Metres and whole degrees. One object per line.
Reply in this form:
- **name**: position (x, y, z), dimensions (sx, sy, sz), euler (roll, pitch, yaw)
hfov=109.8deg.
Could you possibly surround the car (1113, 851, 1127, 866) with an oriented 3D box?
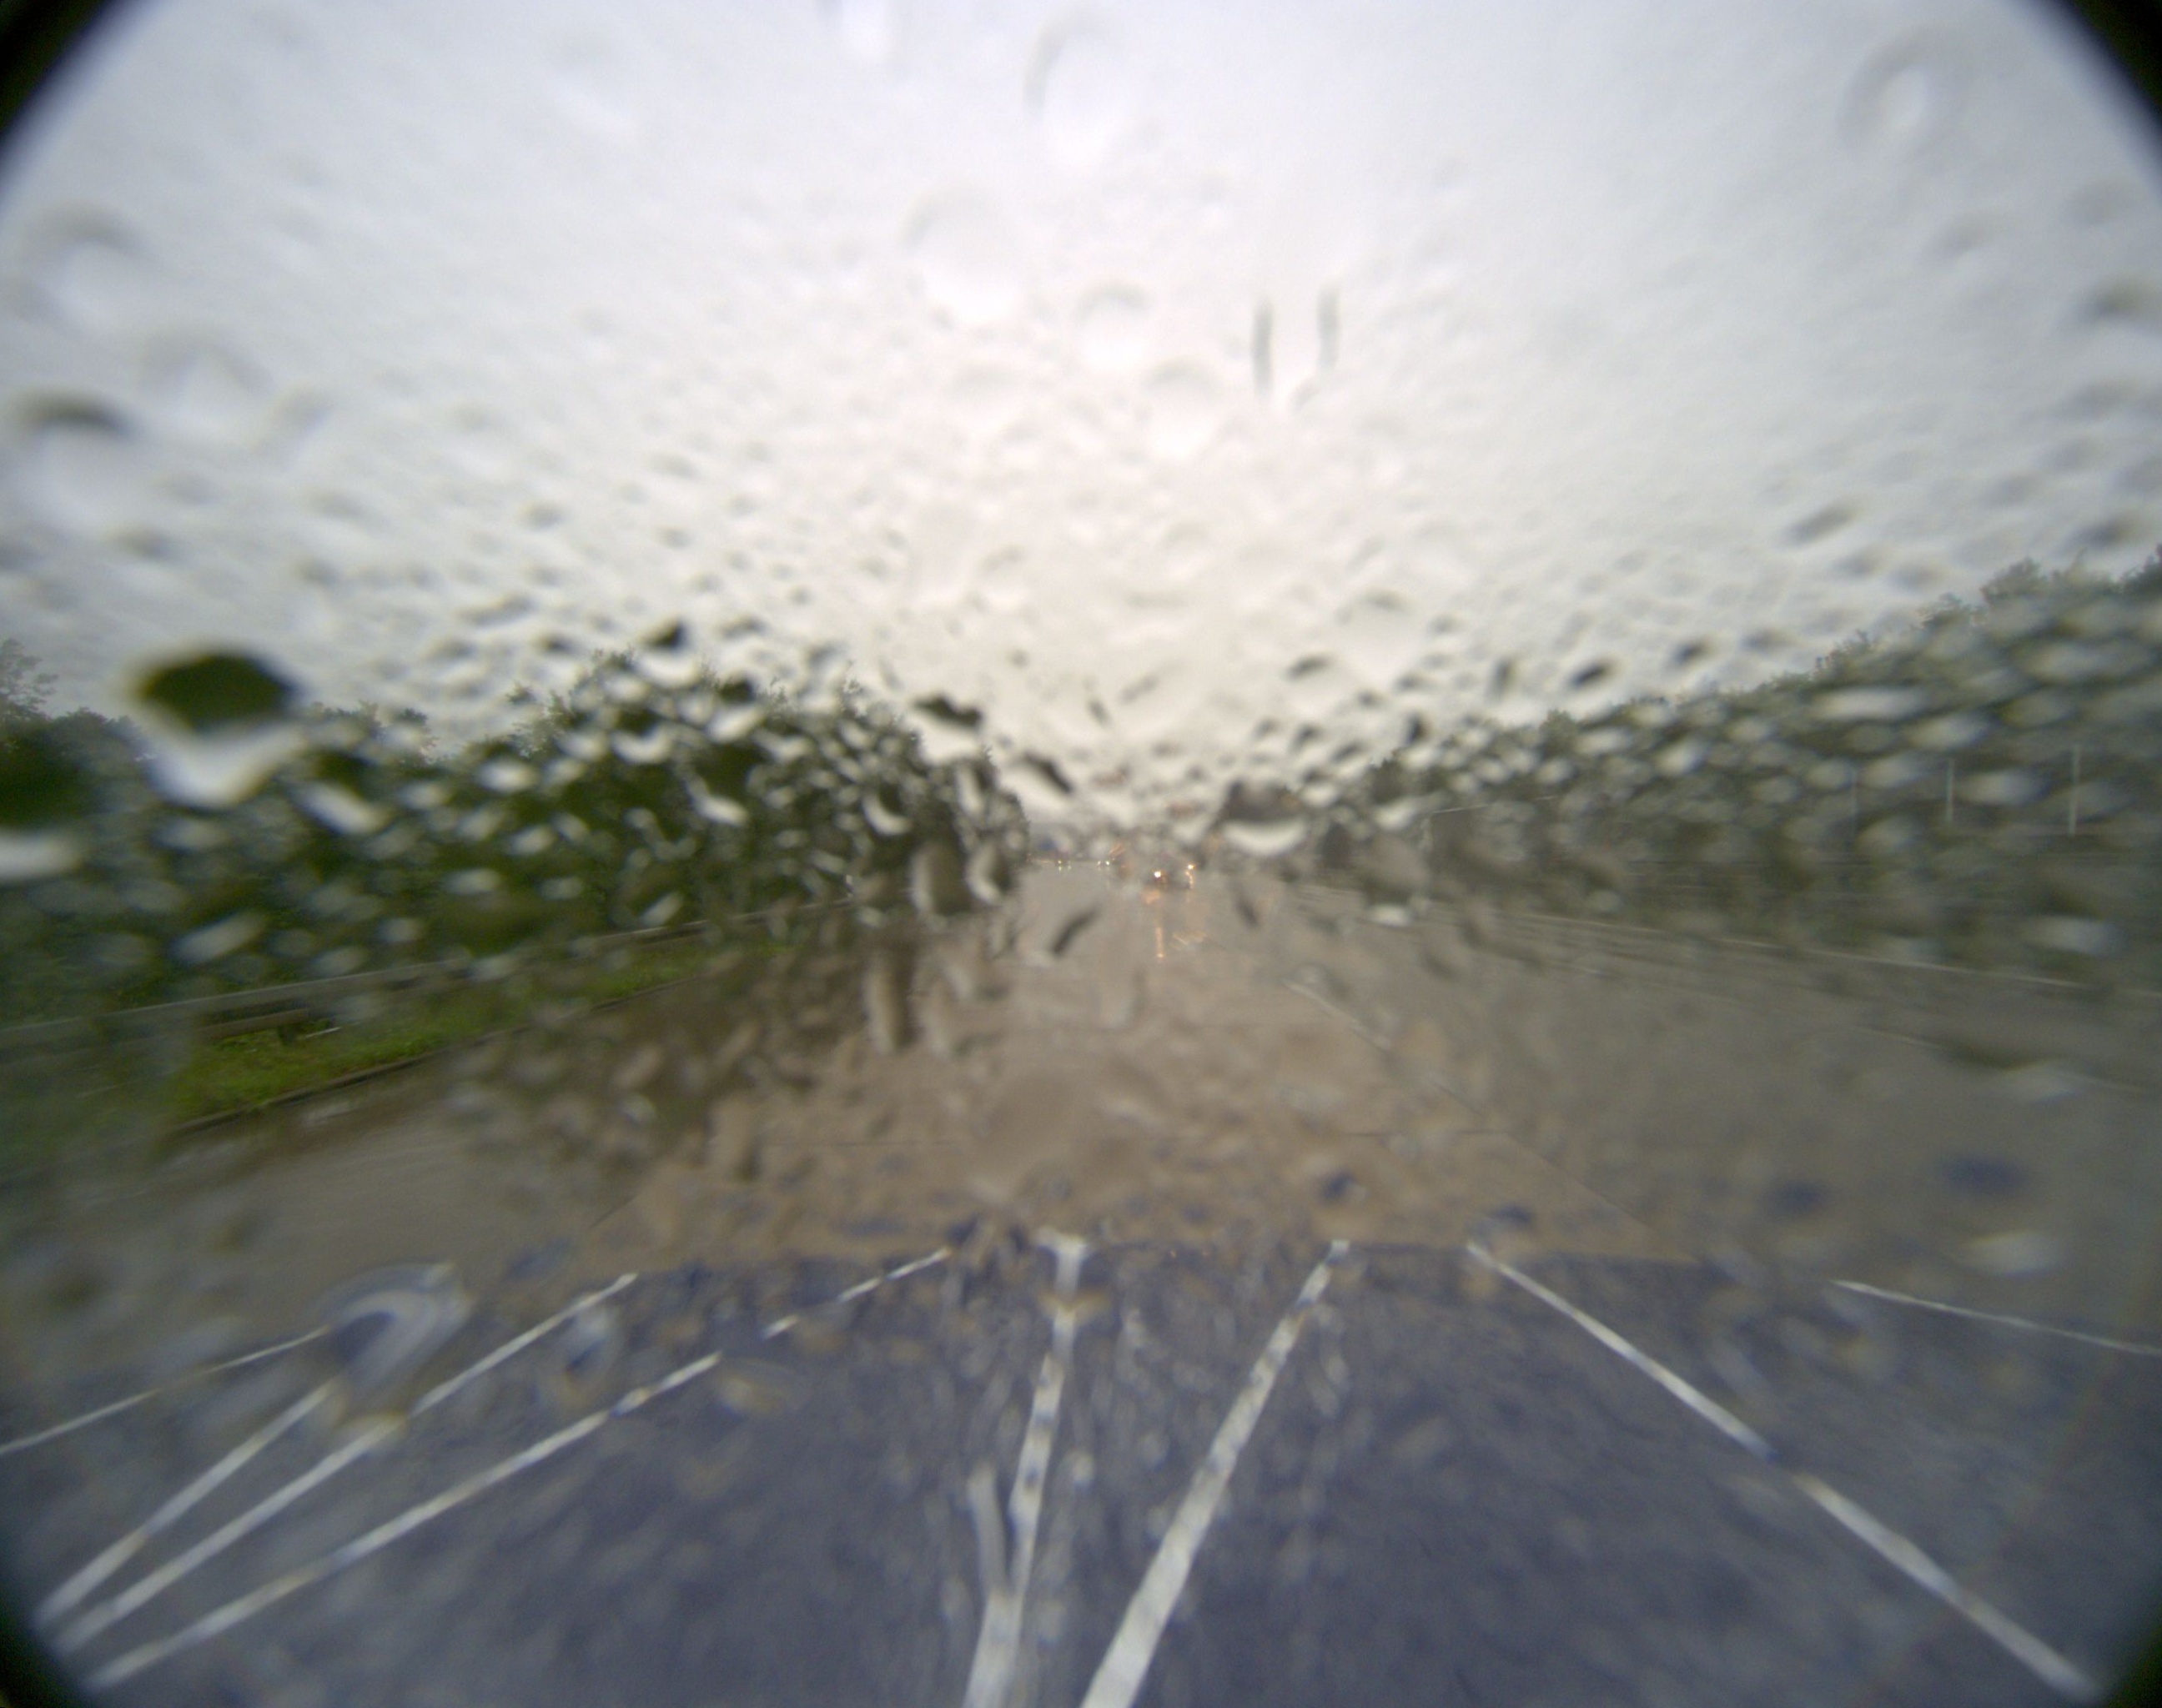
- **car**: position (6.800, 0.820, 132.467), dimensions (2.045, 2.616, 6.404), euler (0, 0, 0)

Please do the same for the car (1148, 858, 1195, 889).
- **car**: position (4.455, 0.916, 38.129), dimensions (1.934, 1.426, 4.518), euler (0, 0, 1)

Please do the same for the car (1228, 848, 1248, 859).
- **car**: position (21.105, -0.103, 102.369), dimensions (1.757, 1.331, 4.425), euler (-3, 0, 0)

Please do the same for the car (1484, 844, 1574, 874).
- **car**: position (21.708, 0.254, 37.049), dimensions (1.757, 1.296, 4.344), euler (-3, 0, 0)

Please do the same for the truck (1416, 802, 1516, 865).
- **truck**: position (25.414, -1.250, 50.641), dimensions (2.781, 3.779, 7.681), euler (-3, 0, 1)

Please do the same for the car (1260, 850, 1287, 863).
- **car**: position (20.944, 0.261, 82.645), dimensions (1.757, 1.331, 4.425), euler (-3, 0, 0)

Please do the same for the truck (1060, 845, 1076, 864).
- **truck**: position (-2.915, 0.135, 173.660), dimensions (3.058, 3.994, 10.046), euler (0, -2, 2)

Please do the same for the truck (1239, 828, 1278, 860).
- **truck**: position (24.859, -1.279, 106.959), dimensions (2.855, 4.130, 10.178), euler (-3, 0, 0)

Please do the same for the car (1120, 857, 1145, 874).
- **car**: position (4.455, 0.946, 66.765), dimensions (1.934, 1.426, 4.518), euler (0, 0, 0)

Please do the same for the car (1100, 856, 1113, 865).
- **car**: position (3.927, 0.953, 115.713), dimensions (1.934, 1.426, 4.518), euler (0, 0, 1)

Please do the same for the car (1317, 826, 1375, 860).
- **car**: position (21.637, -0.847, 62.397), dimensions (2.188, 2.552, 7.446), euler (-3, 0, 1)

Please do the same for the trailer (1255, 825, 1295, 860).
- **trailer**: position (24.792, -1.349, 97.610), dimensions (2.855, 4.130, 8.525), euler (-3, 0, 0)

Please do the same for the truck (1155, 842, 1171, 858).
- **truck**: position (20.255, -1.044, 187.658), dimensions (2.591, 3.678, 9.799), euler (-3, 0, -1)

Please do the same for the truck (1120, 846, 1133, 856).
- **truck**: position (14.880, -0.943, 249.336), dimensions (2.781, 3.296, 11.514), euler (-3, 0, -2)

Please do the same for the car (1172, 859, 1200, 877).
- **car**: position (8.641, 1.105, 62.888), dimensions (1.671, 1.426, 4.350), euler (-1, 0, -1)

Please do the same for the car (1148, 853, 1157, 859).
- **car**: position (17.196, 0.506, 183.644), dimensions (1.757, 1.331, 4.425), euler (-3, 0, 0)

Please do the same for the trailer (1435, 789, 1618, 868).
- **trailer**: position (25.259, -1.246, 44.497), dimensions (2.774, 3.779, 13.779), euler (-3, 0, 1)
